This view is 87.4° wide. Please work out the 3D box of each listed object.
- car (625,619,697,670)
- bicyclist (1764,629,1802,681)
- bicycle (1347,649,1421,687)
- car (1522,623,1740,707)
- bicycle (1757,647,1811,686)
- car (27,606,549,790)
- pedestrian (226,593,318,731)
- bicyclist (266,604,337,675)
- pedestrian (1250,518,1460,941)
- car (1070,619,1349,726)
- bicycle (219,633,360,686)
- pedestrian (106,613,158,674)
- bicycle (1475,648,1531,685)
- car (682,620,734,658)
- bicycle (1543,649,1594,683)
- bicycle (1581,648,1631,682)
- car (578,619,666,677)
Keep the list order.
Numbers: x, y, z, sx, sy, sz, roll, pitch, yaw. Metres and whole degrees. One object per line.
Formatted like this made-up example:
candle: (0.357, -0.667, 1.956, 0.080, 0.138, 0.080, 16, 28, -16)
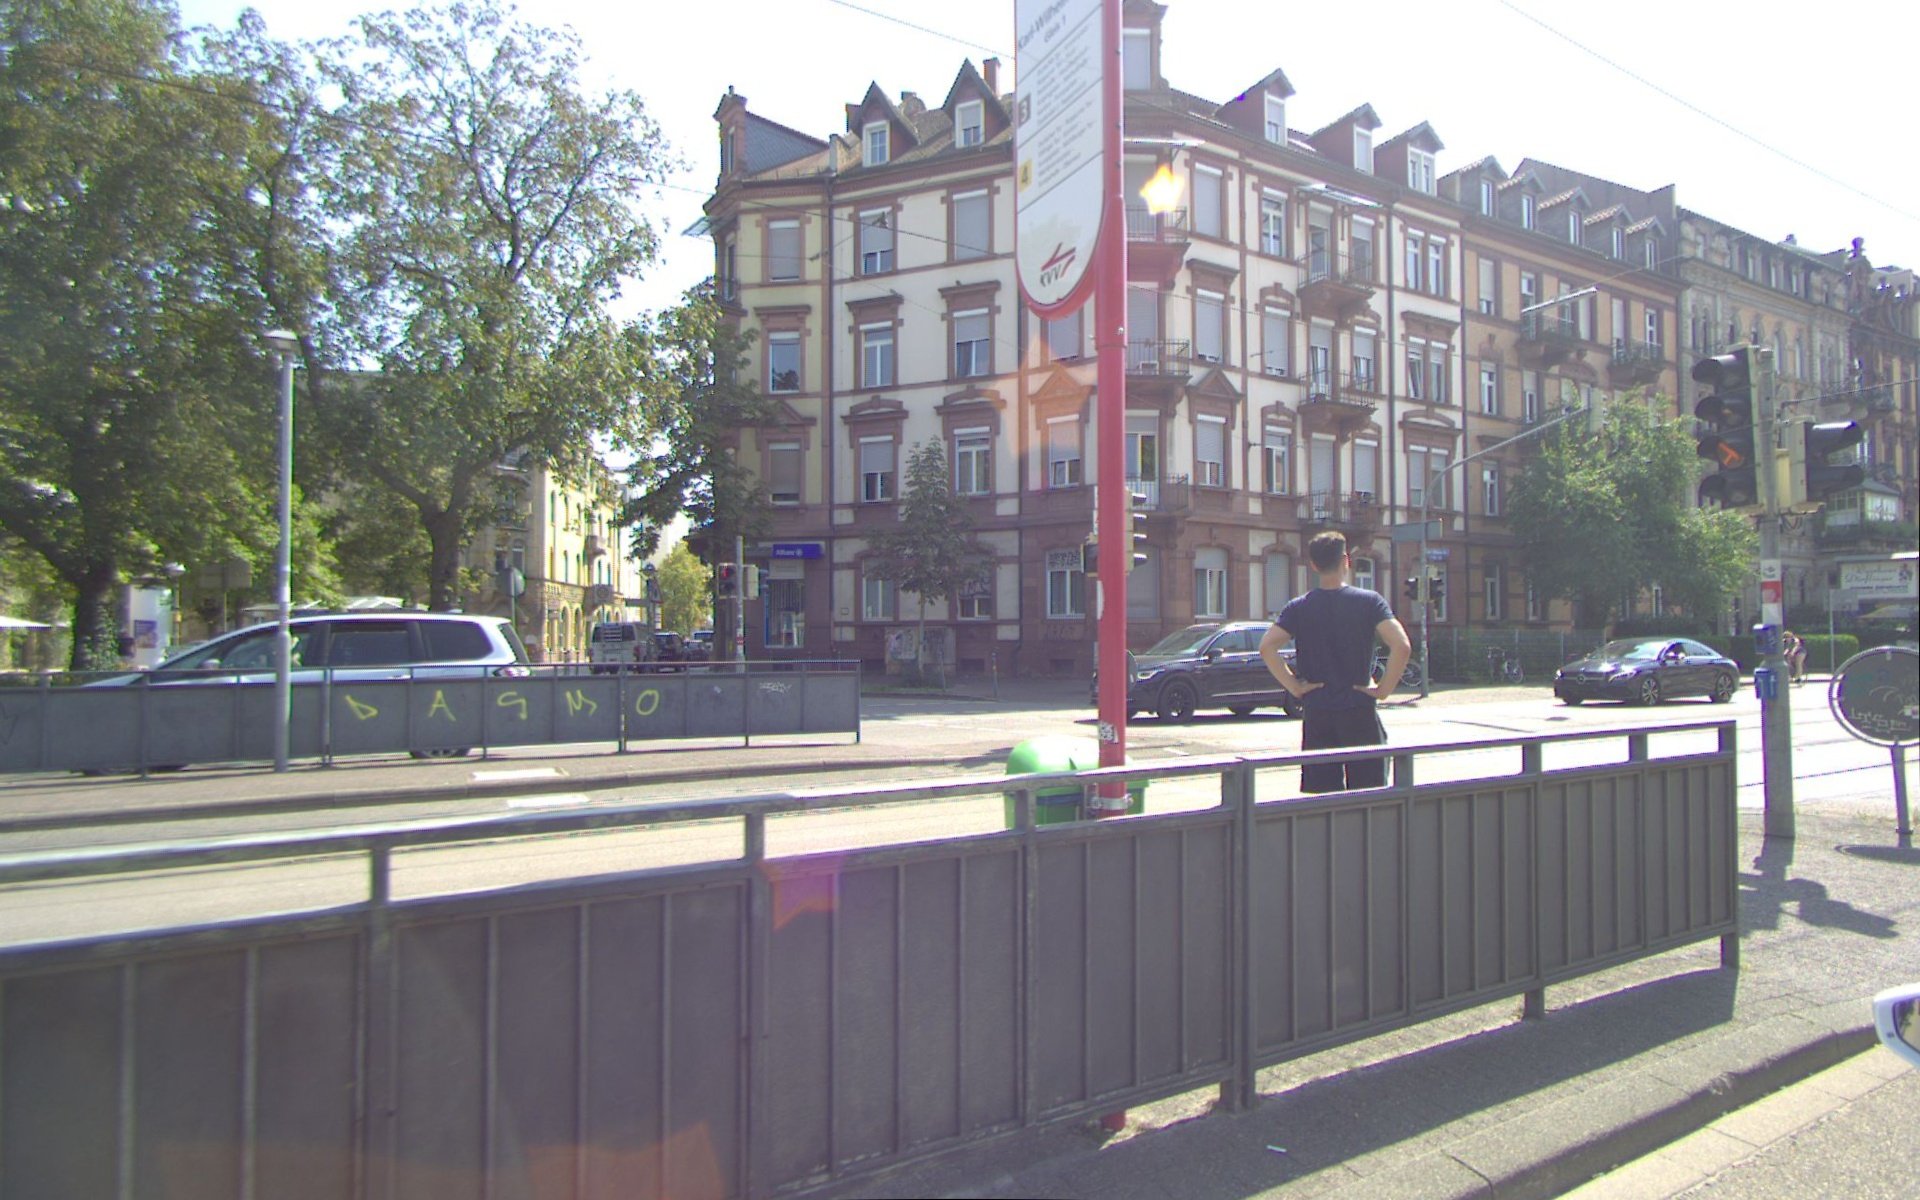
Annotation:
car: (-12.827, 1.899, 43.355, 2.126, 2.040, 5.023, 0, -2, -7)
bicyclist: (23.859, 1.583, 29.121, 0.767, 1.490, 0.578, 1, -2, -29)
bicycle: (11.558, 1.853, 27.408, 1.793, 1.010, 0.489, 0, -2, 9)
car: (14.578, 1.378, 21.796, 4.572, 1.669, 1.986, 1, -3, -28)
bicycle: (23.922, 1.916, 29.145, 1.821, 1.080, 0.578, 1, -2, -30)
car: (-7.239, 1.018, 11.481, 4.570, 1.748, 1.987, 1, -3, -27)
pedestrian: (-10.660, 0.934, 15.611, 1.024, 2.040, 1.086, 2, -1, -29)
bicyclist: (-19.514, 1.179, 29.788, 1.185, 2.040, 1.213, 0, -3, 14)
pedestrian: (1.988, 0.601, 5.060, 0.905, 1.910, 0.675, -1, -2, 25)
car: (4.402, 1.227, 17.671, 4.570, 1.669, 1.987, 1, -3, -26)
bicycle: (-19.588, 1.711, 29.505, 1.198, 1.455, 3.487, -1, -2, 16)
pedestrian: (-28.389, 1.473, 34.470, 1.080, 2.040, 1.030, 2, -1, -24)
bicycle: (15.474, 1.883, 28.617, 1.754, 1.035, 0.486, 1, -2, -27)
car: (-13.889, 2.151, 55.618, 2.126, 2.040, 5.023, 0, -2, -7)
bicycle: (18.068, 1.953, 29.805, 1.635, 0.954, 0.486, 1, -2, -27)
bicycle: (19.618, 1.953, 30.504, 1.635, 0.999, 0.486, 1, -2, -27)
car: (-12.668, 1.778, 38.005, 2.126, 2.040, 5.023, 0, -2, -7)
